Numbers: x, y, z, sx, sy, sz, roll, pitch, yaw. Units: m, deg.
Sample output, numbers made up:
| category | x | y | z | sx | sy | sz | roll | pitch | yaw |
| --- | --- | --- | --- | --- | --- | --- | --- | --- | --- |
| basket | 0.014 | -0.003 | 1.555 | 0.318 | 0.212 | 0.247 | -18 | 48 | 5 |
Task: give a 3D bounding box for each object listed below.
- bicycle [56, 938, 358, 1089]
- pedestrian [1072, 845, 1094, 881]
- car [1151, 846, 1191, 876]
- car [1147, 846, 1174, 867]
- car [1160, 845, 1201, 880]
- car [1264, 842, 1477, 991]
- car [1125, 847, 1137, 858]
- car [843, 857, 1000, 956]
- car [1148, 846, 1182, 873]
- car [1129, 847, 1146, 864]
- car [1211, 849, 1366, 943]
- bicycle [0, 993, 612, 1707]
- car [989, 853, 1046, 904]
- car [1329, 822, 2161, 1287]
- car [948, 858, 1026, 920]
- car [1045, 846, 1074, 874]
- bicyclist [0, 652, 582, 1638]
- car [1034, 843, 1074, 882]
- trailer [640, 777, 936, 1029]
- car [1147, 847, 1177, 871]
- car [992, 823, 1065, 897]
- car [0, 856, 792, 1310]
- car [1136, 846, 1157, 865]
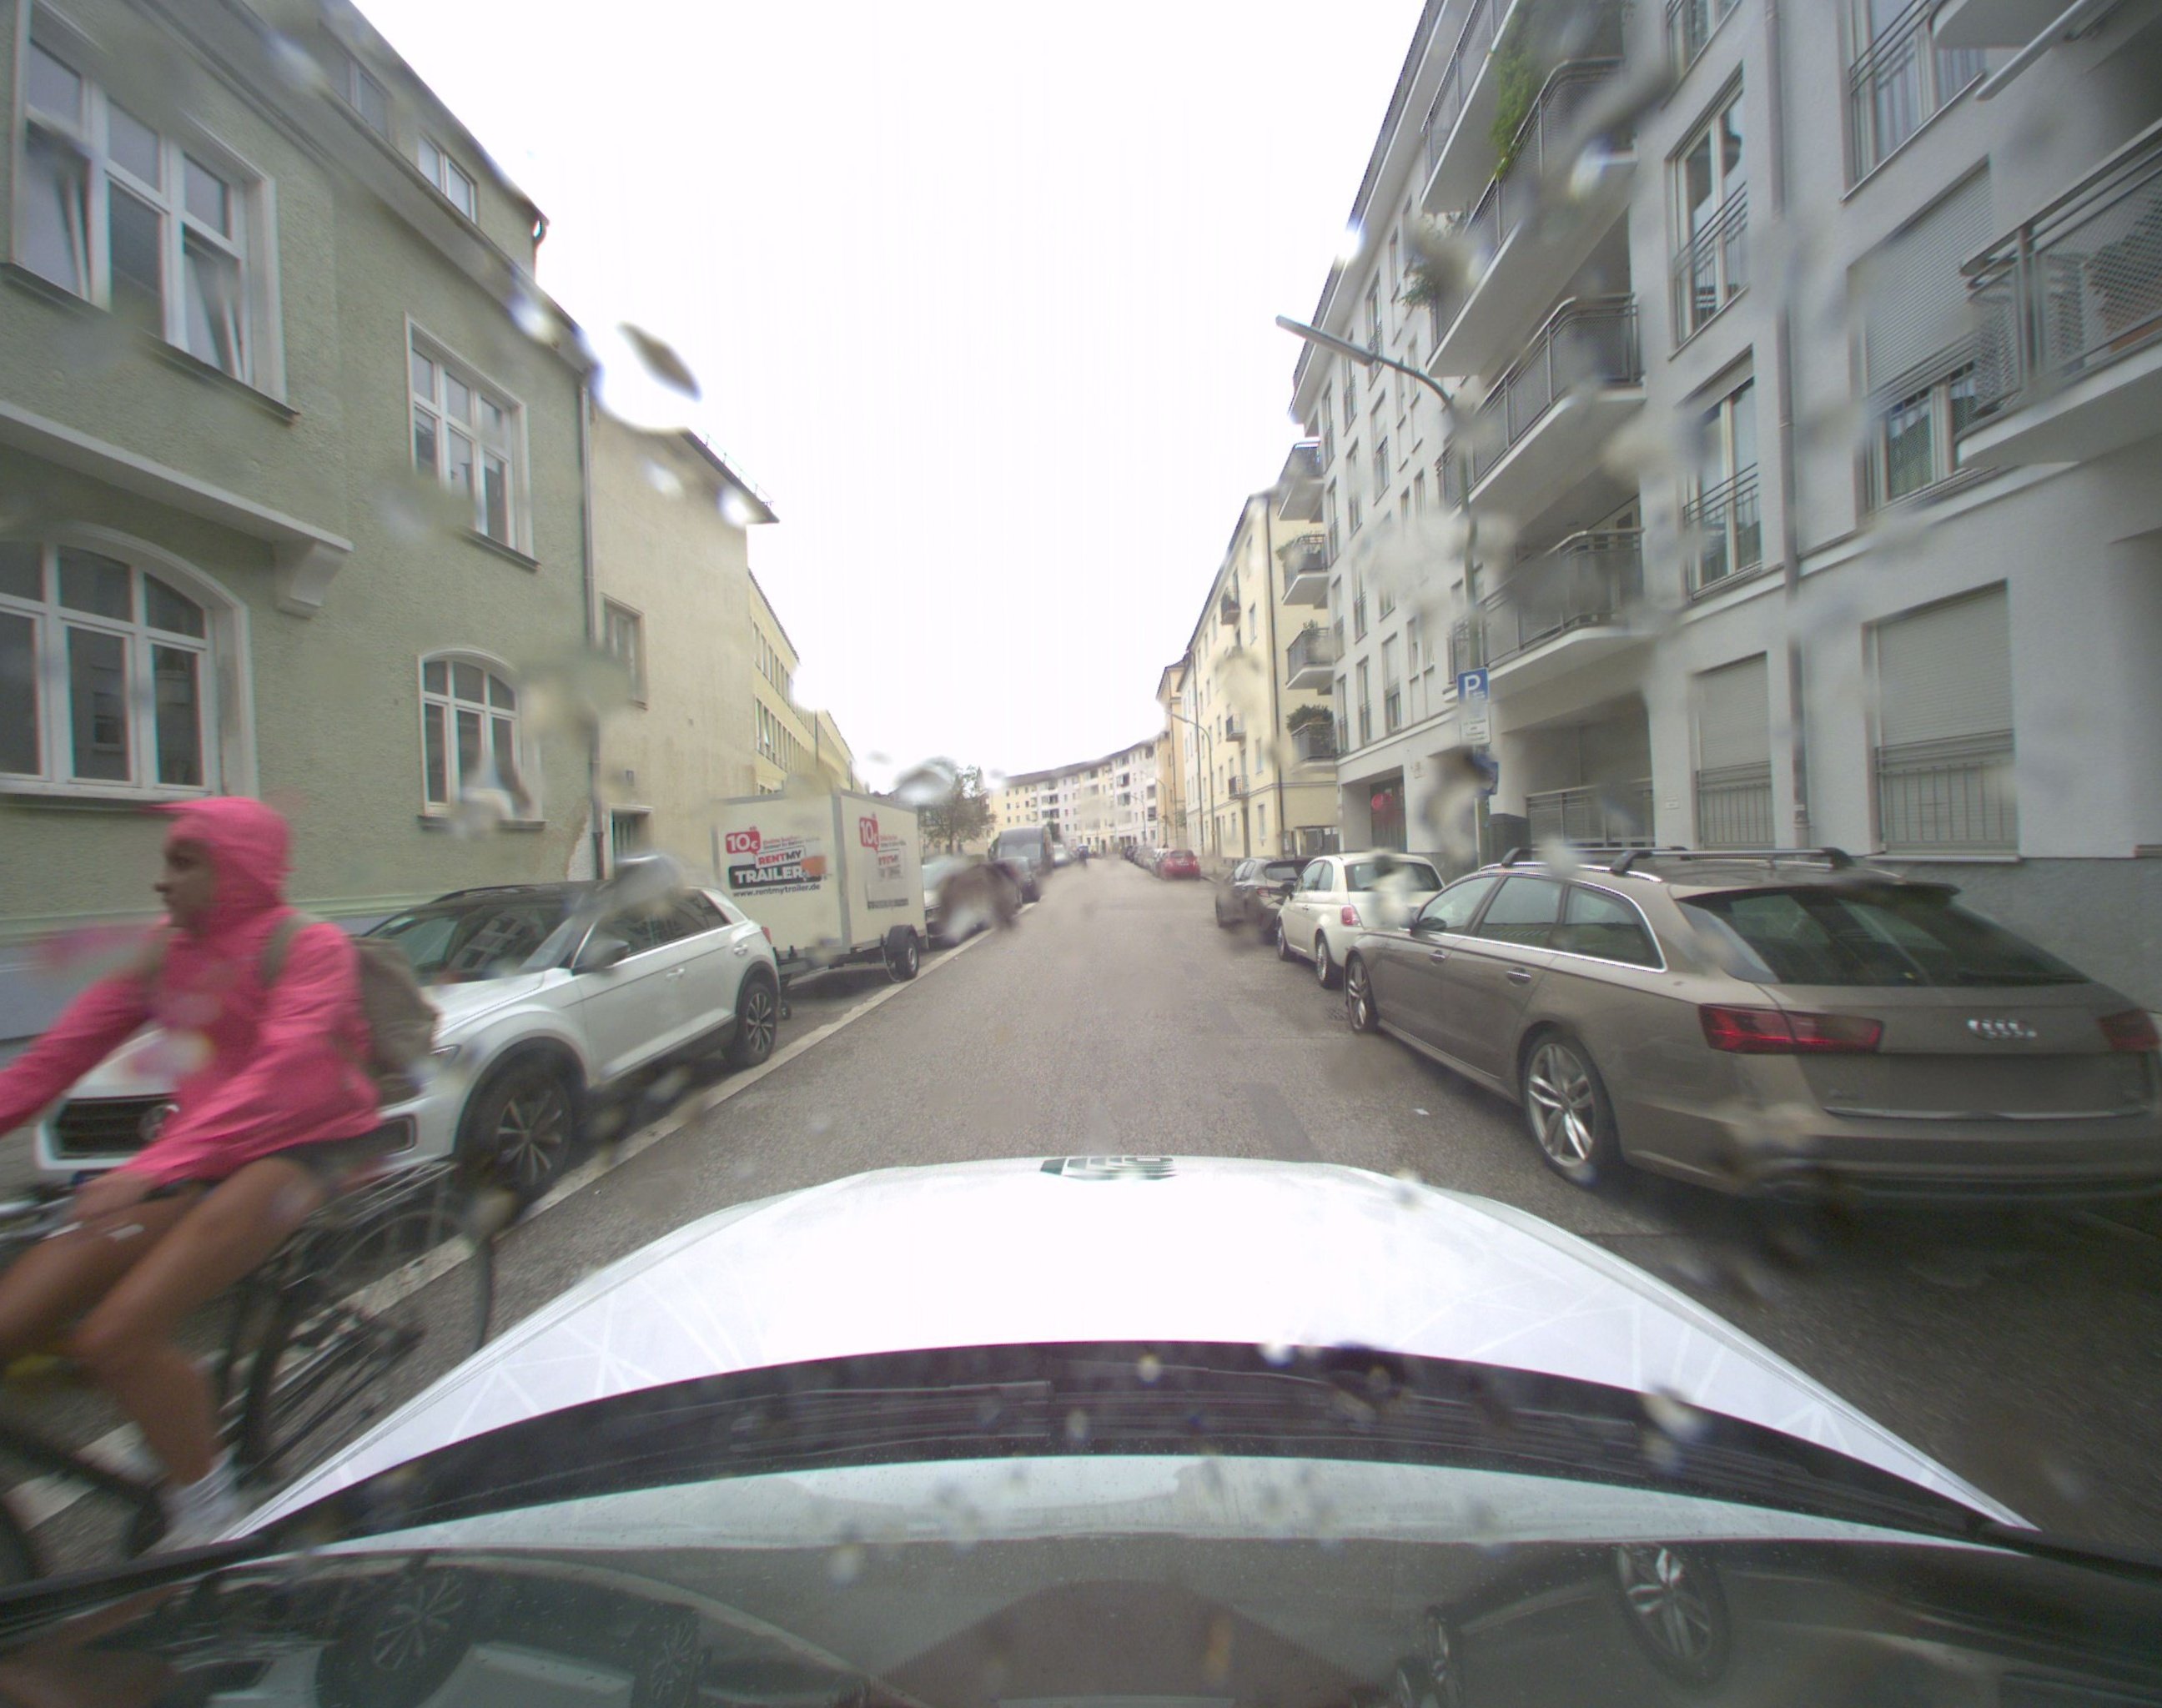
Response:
| category | x | y | z | sx | sy | sz | roll | pitch | yaw |
| --- | --- | --- | --- | --- | --- | --- | --- | --- | --- |
| bicycle | -7.321 | 1.278 | 6.991 | 0.521 | 0.906 | 1.928 | 0 | 0 | -1 |
| pedestrian | 0.087 | 0.439 | 39.668 | 0.801 | 1.728 | 0.664 | 0 | -2 | -44 |
| car | 4.822 | 0.369 | 44.208 | 1.686 | 1.491 | 4.344 | -3 | 0 | 1 |
| car | 5.816 | 0.180 | 59.948 | 1.686 | 1.432 | 3.945 | -1 | 0 | 1 |
| car | 4.718 | 0.390 | 38.941 | 1.589 | 1.509 | 3.803 | -3 | 0 | 3 |
| car | 3.427 | 0.645 | 10.292 | 1.514 | 1.530 | 3.528 | -1 | 0 | 2 |
| car | 5.906 | -0.165 | 96.052 | 1.267 | 1.299 | 2.798 | -2 | 0 | 1 |
| car | -2.959 | 0.904 | 16.189 | 1.758 | 1.538 | 4.547 | -5 | 0 | 5 |
| car | 5.070 | 0.294 | 49.569 | 1.686 | 1.491 | 4.284 | -3 | 1 | 1 |
| car | 5.802 | 0.164 | 84.011 | 1.469 | 1.641 | 4.002 | -1 | 1 | 1 |
| car | 3.614 | 0.672 | 14.947 | 1.758 | 1.408 | 4.077 | -2 | 0 | 0 |
| bicycle | -1.858 | 1.033 | 1.726 | 0.502 | 1.128 | 1.776 | -4 | 0 | 5 |
| car | -2.100 | 0.780 | 27.610 | 1.580 | 1.538 | 3.543 | -3 | 0 | 0 |
| car | 3.043 | 0.653 | 5.000 | 1.728 | 1.530 | 4.622 | 0 | 0 | 1 |
| car | -2.525 | 0.890 | 22.724 | 1.695 | 1.445 | 3.824 | -2 | 1 | 0 |
| car | -1.445 | 0.401 | 55.739 | 1.695 | 1.691 | 4.029 | -5 | 1 | 1 |
| bicyclist | -1.818 | 0.478 | 1.794 | 0.691 | 1.561 | 0.968 | -4 | 0 | 5 |
| car | -1.451 | 0.403 | 45.581 | 1.876 | 1.931 | 4.601 | -5 | 1 | 1 |
| trailer | -3.396 | 0.484 | 10.519 | 1.701 | 2.461 | 4.393 | -5 | 0 | 5 |
| car | 5.382 | 0.297 | 54.600 | 1.594 | 1.491 | 3.798 | -2 | 1 | 0 |
| car | -1.986 | 0.181 | 32.496 | 2.079 | 2.636 | 5.383 | -3 | 1 | 4 |
| car | -3.457 | 0.894 | 5.110 | 1.681 | 1.603 | 3.923 | -5 | 0 | 1 |
| car | 5.913 | 0.095 | 74.062 | 1.585 | 1.582 | 4.300 | -1 | 1 | 1 |
